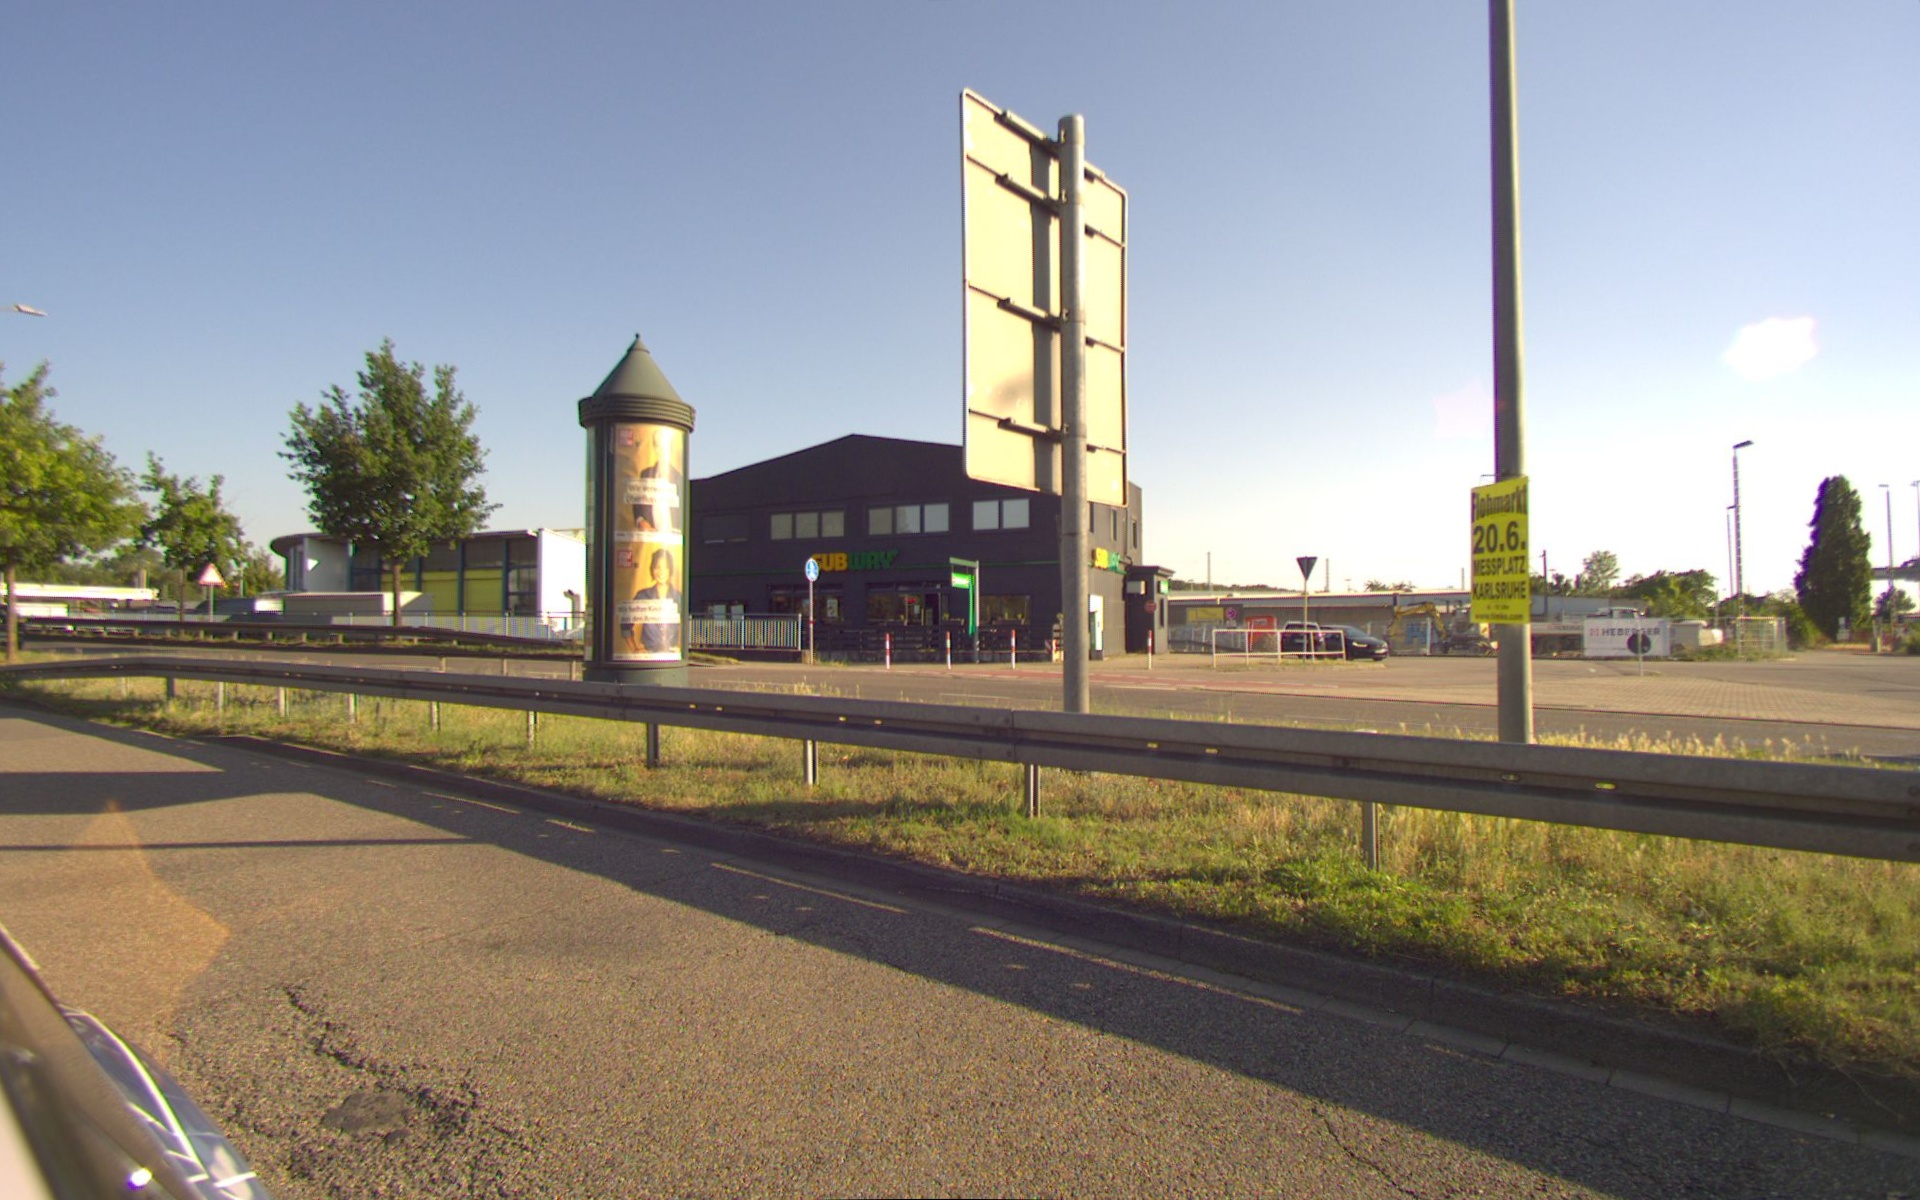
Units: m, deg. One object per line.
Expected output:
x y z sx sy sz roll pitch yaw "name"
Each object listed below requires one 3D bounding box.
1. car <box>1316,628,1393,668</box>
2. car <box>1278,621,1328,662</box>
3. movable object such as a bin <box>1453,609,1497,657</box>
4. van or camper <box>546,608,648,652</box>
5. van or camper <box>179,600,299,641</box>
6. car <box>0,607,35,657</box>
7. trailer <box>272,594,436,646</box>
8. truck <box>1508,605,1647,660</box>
18.311 2.201 47.145 1.766 1.676 4.518 0 -1 0 "car"
13.725 1.612 40.455 1.830 1.541 3.974 0 -1 19 "car"
29.624 1.874 58.195 2.211 2.735 1.722 0 -1 29 "movable object such as a bin"
-17.145 1.433 47.874 4.158 1.940 2.006 2 -1 -33 "van or camper"
-31.708 0.889 44.510 4.926 1.698 1.985 1 -1 22 "van or camper"
-32.987 1.027 33.432 4.363 1.616 1.839 0 -1 21 "car"
-25.010 0.795 41.772 6.563 1.985 2.409 1 -1 23 "trailer"
37.084 1.927 60.996 6.698 3.168 2.433 0 -1 7 "truck"
